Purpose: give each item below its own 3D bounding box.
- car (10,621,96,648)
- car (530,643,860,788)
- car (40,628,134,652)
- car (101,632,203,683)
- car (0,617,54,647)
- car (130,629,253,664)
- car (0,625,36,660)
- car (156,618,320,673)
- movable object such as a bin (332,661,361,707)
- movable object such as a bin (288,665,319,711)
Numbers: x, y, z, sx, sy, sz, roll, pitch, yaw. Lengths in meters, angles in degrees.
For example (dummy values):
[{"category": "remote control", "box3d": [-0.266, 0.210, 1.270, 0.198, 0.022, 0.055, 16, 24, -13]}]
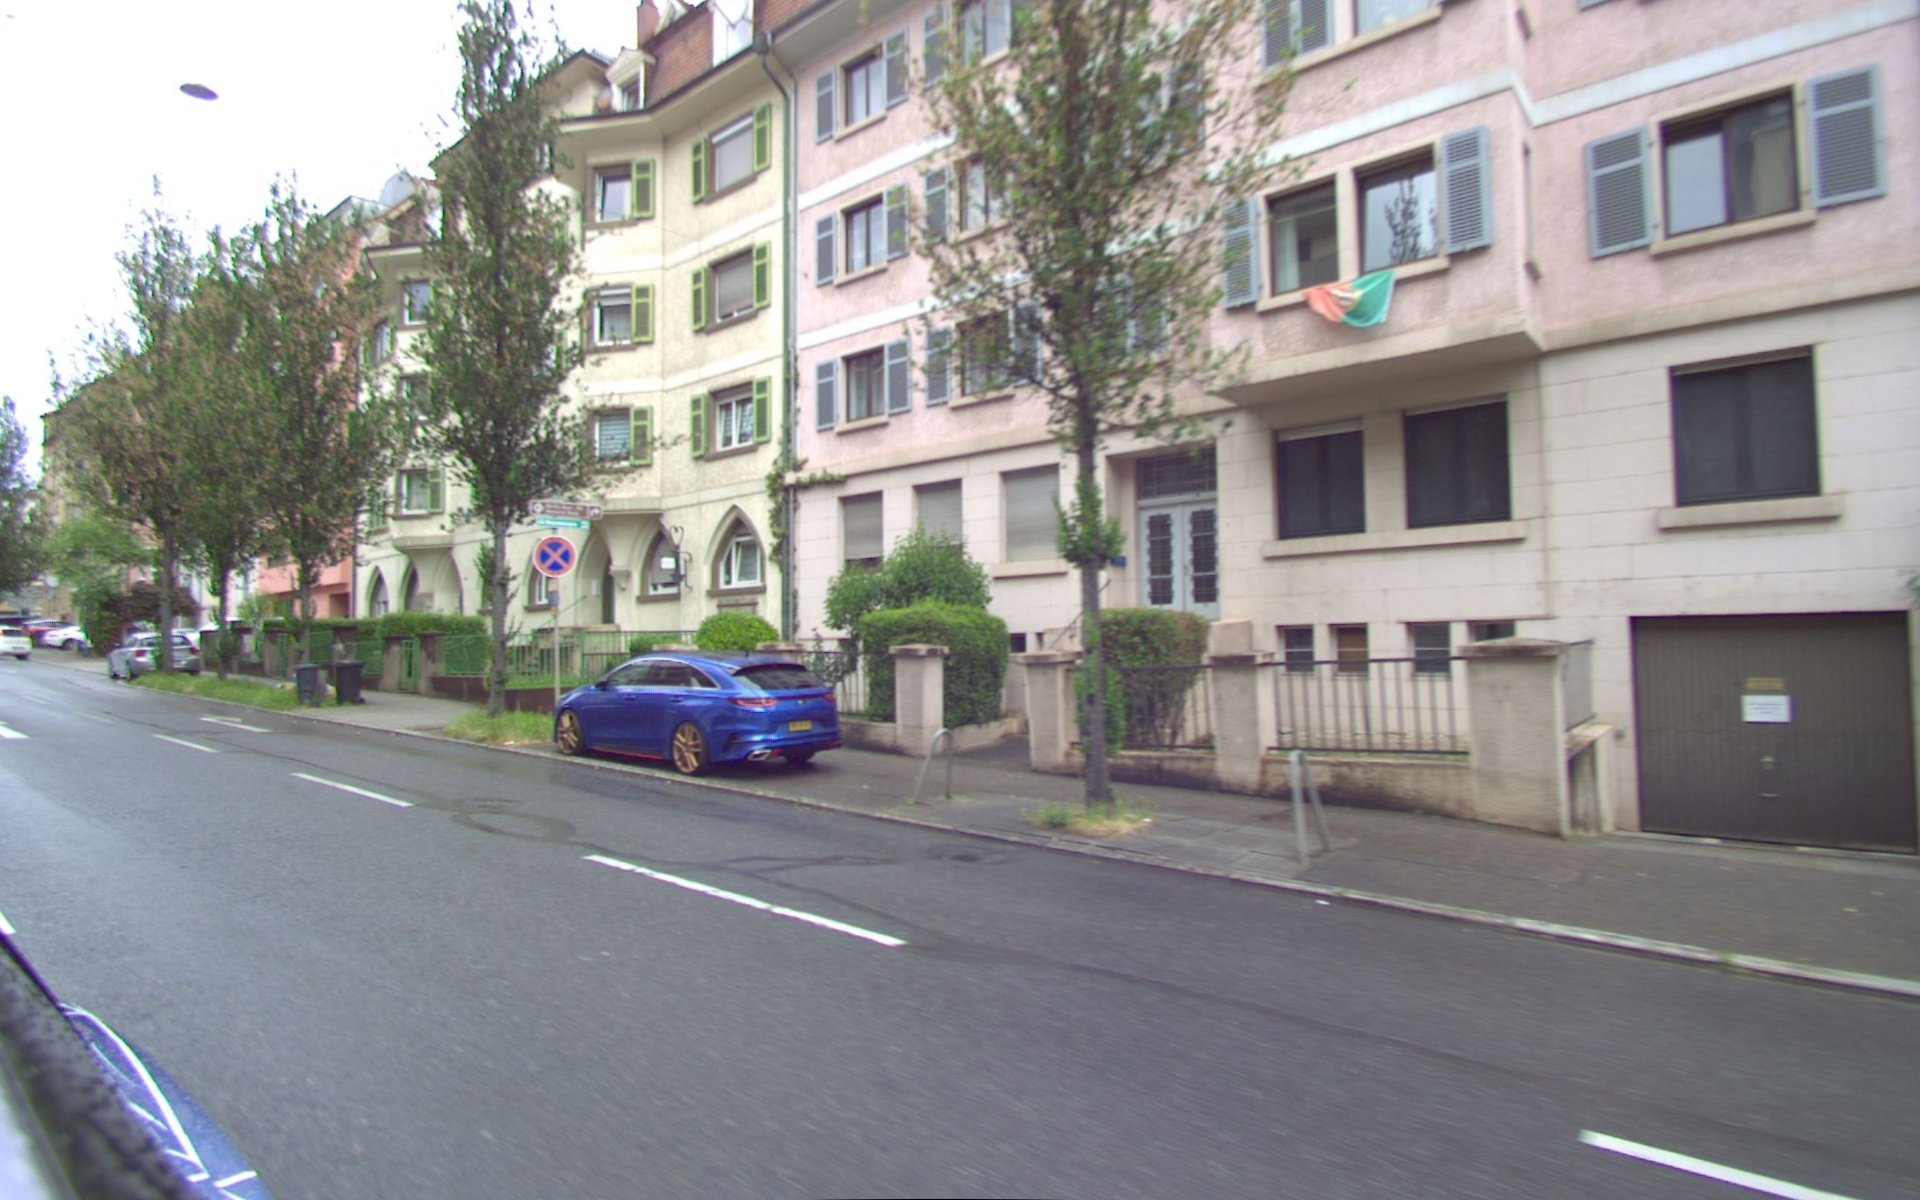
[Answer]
[{"category": "car", "box3d": [-58.591, 2.232, 65.416, 1.591, 1.634, 3.879, 0, -3, 40]}, {"category": "car", "box3d": [-3.486, 1.302, 12.807, 4.599, 1.396, 1.662, 0, -2, 40]}, {"category": "car", "box3d": [-50.315, 2.305, 58.400, 1.645, 1.307, 3.879, 0, -3, 40]}, {"category": "car", "box3d": [-25.188, 1.765, 31.507, 4.134, 1.428, 1.664, -1, -3, 40]}, {"category": "car", "box3d": [-61.463, 2.053, 65.508, 1.864, 1.861, 3.882, 0, -3, 37]}, {"category": "car", "box3d": [-33.297, 2.006, 43.948, 1.721, 1.408, 3.887, 0, -2, 33]}, {"category": "car", "box3d": [-43.301, 1.861, 44.760, 3.609, 1.483, 1.667, 0, 0, 7]}, {"category": "car", "box3d": [-26.966, 1.638, 37.956, 1.916, 1.919, 4.674, 0, -1, 38]}, {"category": "movable object such as a bin", "box3d": [-12.931, 1.762, 21.341, 0.572, 0.918, 0.360, 0, 0, 39]}, {"category": "movable object such as a bin", "box3d": [-13.312, 1.777, 20.513, 0.572, 0.896, 0.360, -1, -1, 39]}]
